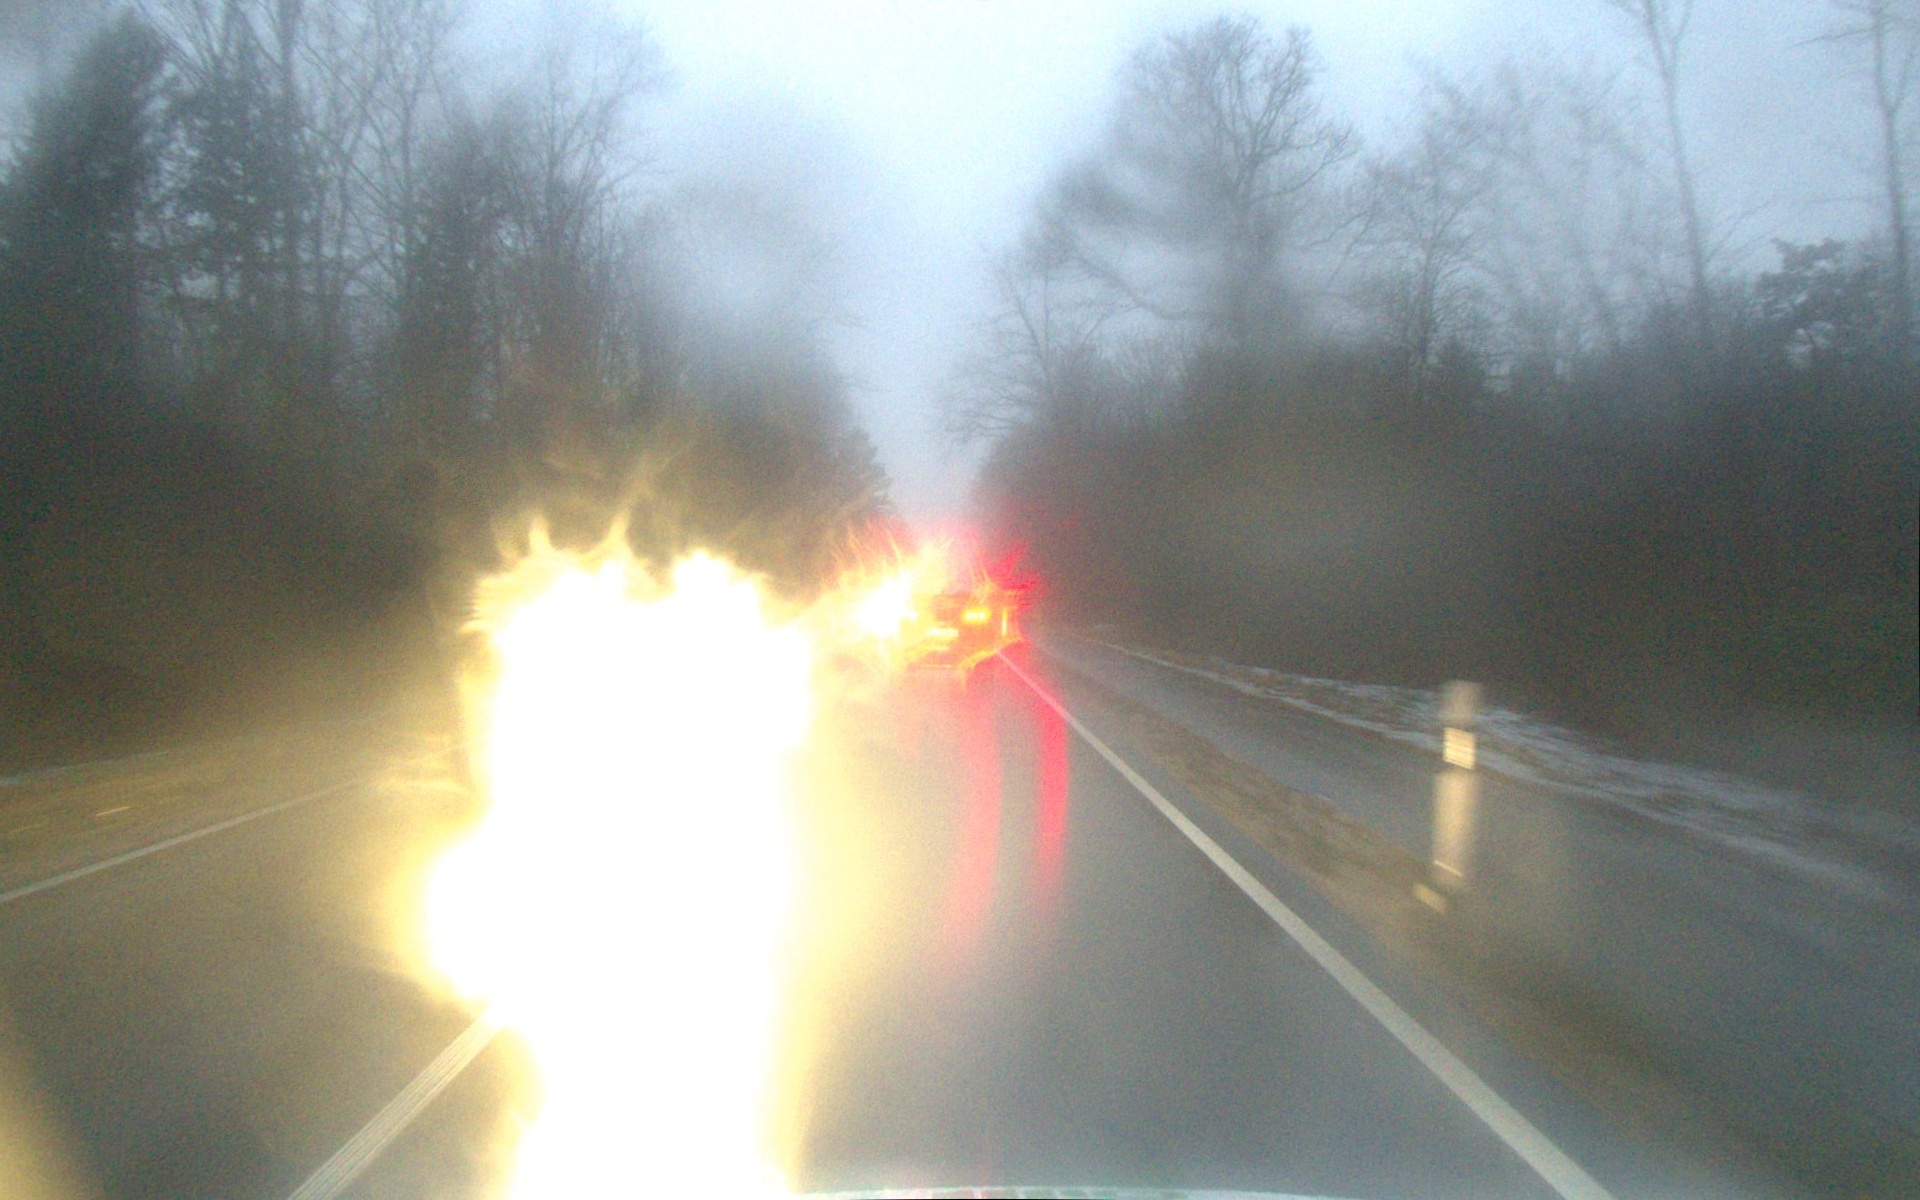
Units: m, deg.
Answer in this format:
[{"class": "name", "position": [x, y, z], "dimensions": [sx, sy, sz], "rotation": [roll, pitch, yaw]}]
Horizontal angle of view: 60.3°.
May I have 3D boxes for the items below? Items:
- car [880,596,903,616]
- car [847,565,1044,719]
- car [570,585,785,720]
[{"class": "car", "position": [-5.188, 0.448, 125.216], "dimensions": [1.657, 1.445, 3.999], "rotation": [-1, 1, -1]}, {"class": "car", "position": [-0.227, 0.689, 29.875], "dimensions": [3.118, 2.428, 6.636], "rotation": [1, 0, 0]}, {"class": "car", "position": [-3.672, 0.618, 22.435], "dimensions": [1.934, 1.595, 4.928], "rotation": [-1, 0, 1]}]
